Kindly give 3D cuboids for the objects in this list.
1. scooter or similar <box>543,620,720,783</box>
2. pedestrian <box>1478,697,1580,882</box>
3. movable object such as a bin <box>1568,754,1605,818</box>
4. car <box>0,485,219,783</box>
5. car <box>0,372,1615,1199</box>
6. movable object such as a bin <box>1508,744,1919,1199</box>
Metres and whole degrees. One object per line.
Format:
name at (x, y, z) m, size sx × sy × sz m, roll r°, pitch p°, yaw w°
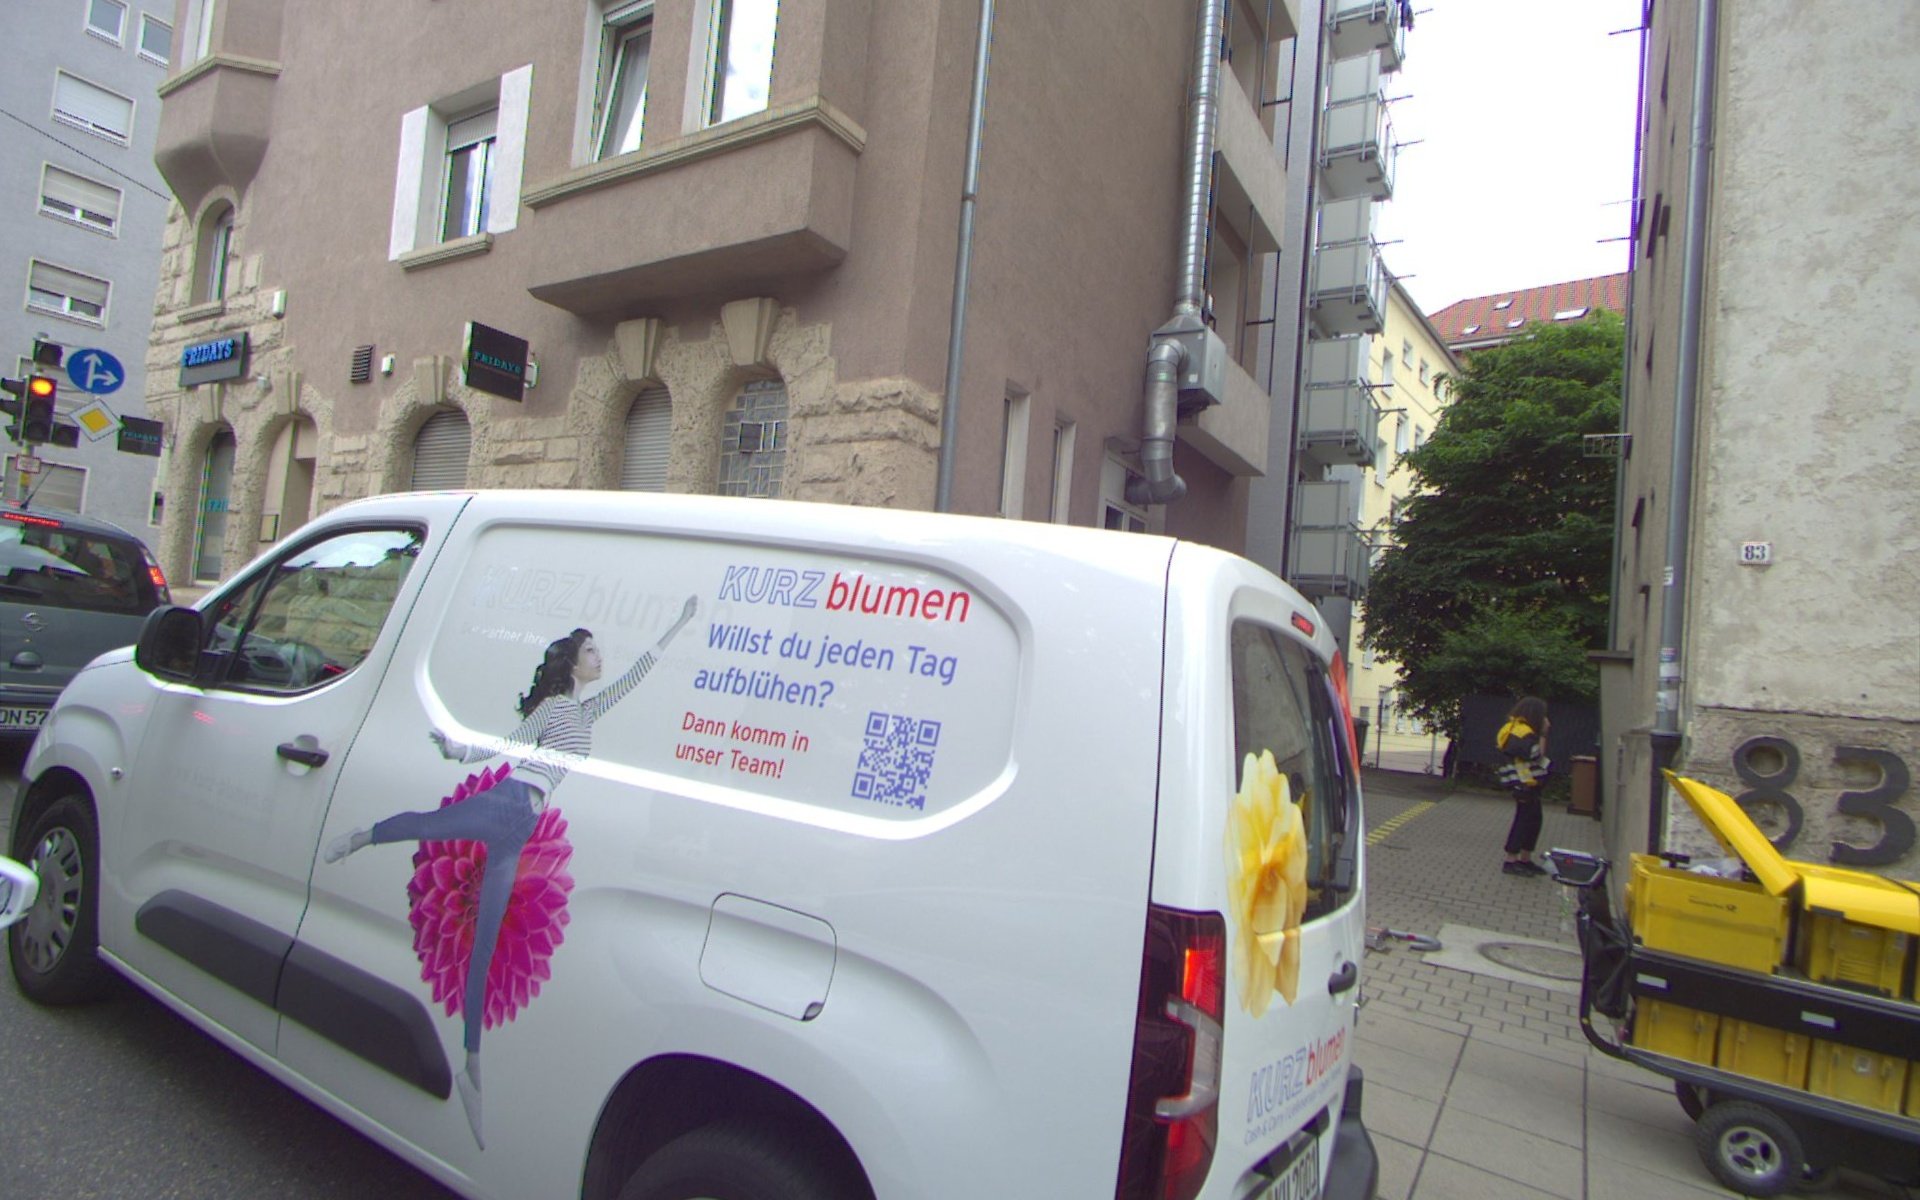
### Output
scooter or similar at (-2.720, 0.805, 8.282) m, size 1.400 × 1.117 × 0.527 m, roll 6°, pitch -1°, yaw 34°
pedestrian at (5.545, 1.800, 9.852) m, size 0.770 × 1.665 × 0.811 m, roll 1°, pitch -3°, yaw 24°
movable object such as a bin at (9.941, 2.941, 15.973) m, size 0.405 × 0.922 × 0.340 m, roll 6°, pitch -1°, yaw 32°
car at (-6.702, 0.046, 6.524) m, size 3.608 × 1.614 × 1.634 m, roll 6°, pitch -5°, yaw 32°
car at (-0.896, 0.566, 3.097) m, size 4.597 × 1.793 × 1.983 m, roll 6°, pitch -5°, yaw 30°
movable object such as a bin at (3.372, 1.454, 3.983) m, size 1.979 × 1.391 × 1.223 m, roll 6°, pitch 0°, yaw 30°
